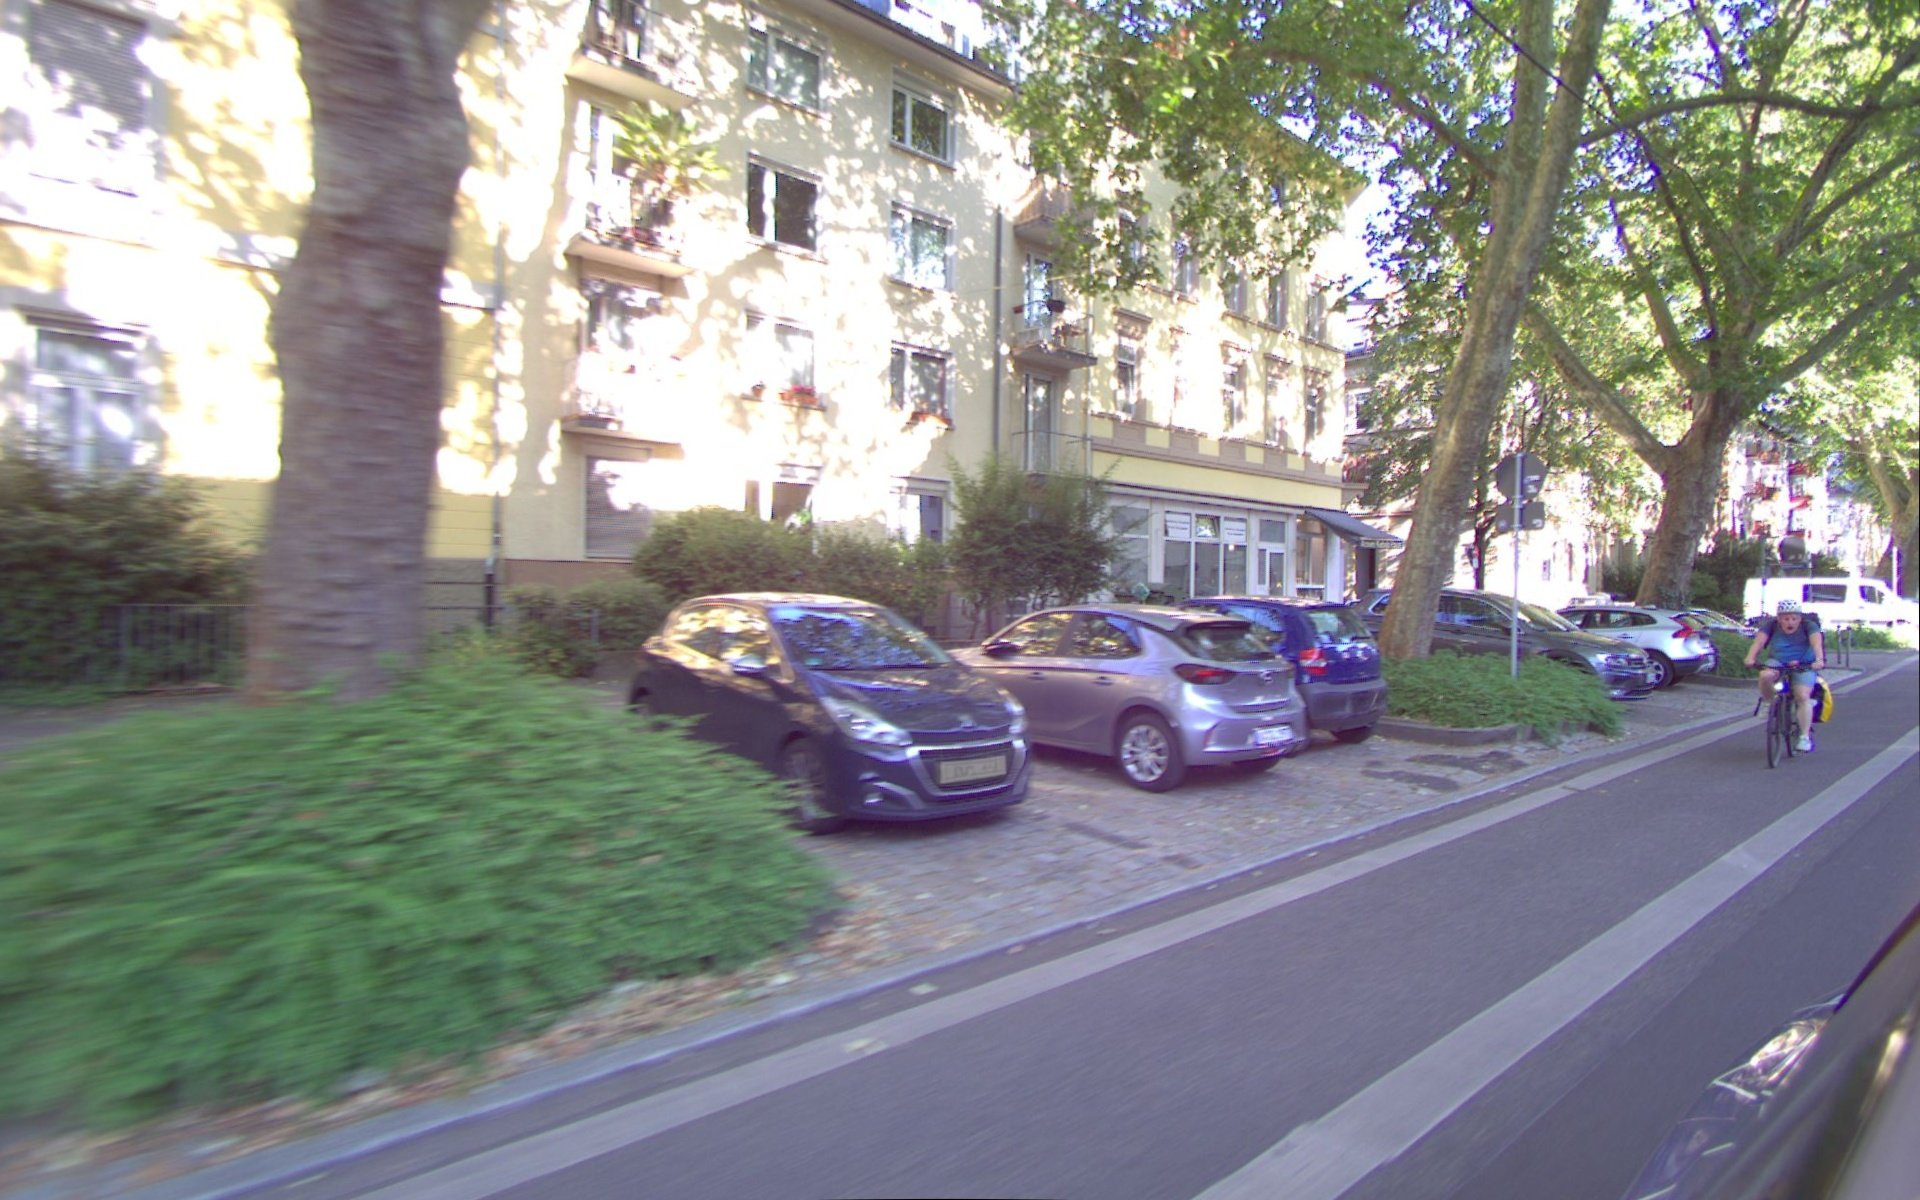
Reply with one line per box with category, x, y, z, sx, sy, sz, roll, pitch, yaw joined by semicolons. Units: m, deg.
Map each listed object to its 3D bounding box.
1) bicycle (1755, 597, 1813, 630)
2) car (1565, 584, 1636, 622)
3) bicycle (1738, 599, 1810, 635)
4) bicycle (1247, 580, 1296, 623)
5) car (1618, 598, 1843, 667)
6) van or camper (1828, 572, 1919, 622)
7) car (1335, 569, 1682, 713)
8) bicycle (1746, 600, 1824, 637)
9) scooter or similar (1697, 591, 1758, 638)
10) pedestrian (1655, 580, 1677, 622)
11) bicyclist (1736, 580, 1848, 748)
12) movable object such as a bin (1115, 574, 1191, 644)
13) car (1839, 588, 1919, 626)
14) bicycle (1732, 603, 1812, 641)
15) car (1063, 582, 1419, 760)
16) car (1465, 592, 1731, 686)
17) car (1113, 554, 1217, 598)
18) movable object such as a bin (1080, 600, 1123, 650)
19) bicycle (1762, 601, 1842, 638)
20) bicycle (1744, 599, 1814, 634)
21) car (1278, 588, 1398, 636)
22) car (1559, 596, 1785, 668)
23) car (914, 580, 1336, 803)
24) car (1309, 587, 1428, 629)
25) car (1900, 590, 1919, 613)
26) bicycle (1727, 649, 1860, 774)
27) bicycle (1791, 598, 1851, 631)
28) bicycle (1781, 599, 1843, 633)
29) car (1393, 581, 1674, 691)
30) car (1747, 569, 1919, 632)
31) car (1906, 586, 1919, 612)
bicycle;31.429;0.515;38.641;0.405;1.193;2.050;0;1;-4
car;26.672;0.103;42.101;3.512;1.473;1.734;0;3;-45
bicycle;28.675;0.577;35.679;0.404;1.193;2.053;-1;1;-20
bicycle;9.006;0.047;29.213;1.715;1.170;0.470;1;2;-41
car;19.139;0.733;25.318;1.795;1.510;4.112;0;1;-32
van or camper;48.567;-0.176;51.776;2.071;2.522;6.043;0;1;-41
car;8.245;0.488;15.514;1.818;1.740;4.269;0;3;-43
bicycle;28.259;0.622;34.691;0.405;1.193;2.050;-1;1;-32
scooter or similar;21.379;0.394;28.210;0.334;1.271;1.313;0;0;-27
pedestrian;28.491;0.023;40.839;0.587;1.672;0.703;0;0;23
bicyclist;8.243;0.614;10.024;0.919;1.573;0.615;0;-4;-41
movable object such as a bin;4.218;0.181;22.148;1.098;1.455;1.169;0;2;-41
car;43.841;0.315;47.369;1.766;1.676;3.958;-1;2;-43
bicycle;26.971;0.723;33.656;0.405;1.193;2.050;-1;1;-32
car;2.966;0.625;11.236;1.514;1.619;3.602;-1;2;-40
car;12.034;0.653;19.252;4.028;1.498;1.655;2;2;44
car;8.526;-0.984;42.369;1.625;1.679;4.139;3;-1;-40
movable object such as a bin;2.891;0.501;20.726;0.457;0.955;0.749;0;2;-41
bicycle;28.188;0.635;33.924;0.405;1.193;2.050;-1;1;-32
bicycle;29.628;0.581;36.639;0.404;1.193;2.053;-1;1;-20
car;14.465;0.419;38.909;1.820;1.618;3.999;-3;3;-36
car;16.814;0.685;24.086;1.649;1.510;4.109;0;1;-35
car;1.350;0.644;9.352;1.664;1.536;3.603;0;2;-41
car;14.944;0.290;37.147;1.663;1.430;3.679;3;-1;-44
car;64.563;0.143;66.784;1.632;1.514;3.613;0;1;-42
bicycle;8.258;1.032;9.983;2.467;1.017;0.596;0;-2;-41
bicycle;32.726;0.525;38.485;0.405;1.193;2.050;0;1;-4
bicycle;30.905;0.561;36.733;0.405;1.193;2.050;0;1;-4
car;10.091;0.543;18.029;1.653;1.664;4.033;0;2;-42
car;34.855;-0.018;39.698;1.970;2.311;6.005;1;0;-39
car;66.318;-0.056;67.914;1.773;1.767;4.001;0;1;-41
